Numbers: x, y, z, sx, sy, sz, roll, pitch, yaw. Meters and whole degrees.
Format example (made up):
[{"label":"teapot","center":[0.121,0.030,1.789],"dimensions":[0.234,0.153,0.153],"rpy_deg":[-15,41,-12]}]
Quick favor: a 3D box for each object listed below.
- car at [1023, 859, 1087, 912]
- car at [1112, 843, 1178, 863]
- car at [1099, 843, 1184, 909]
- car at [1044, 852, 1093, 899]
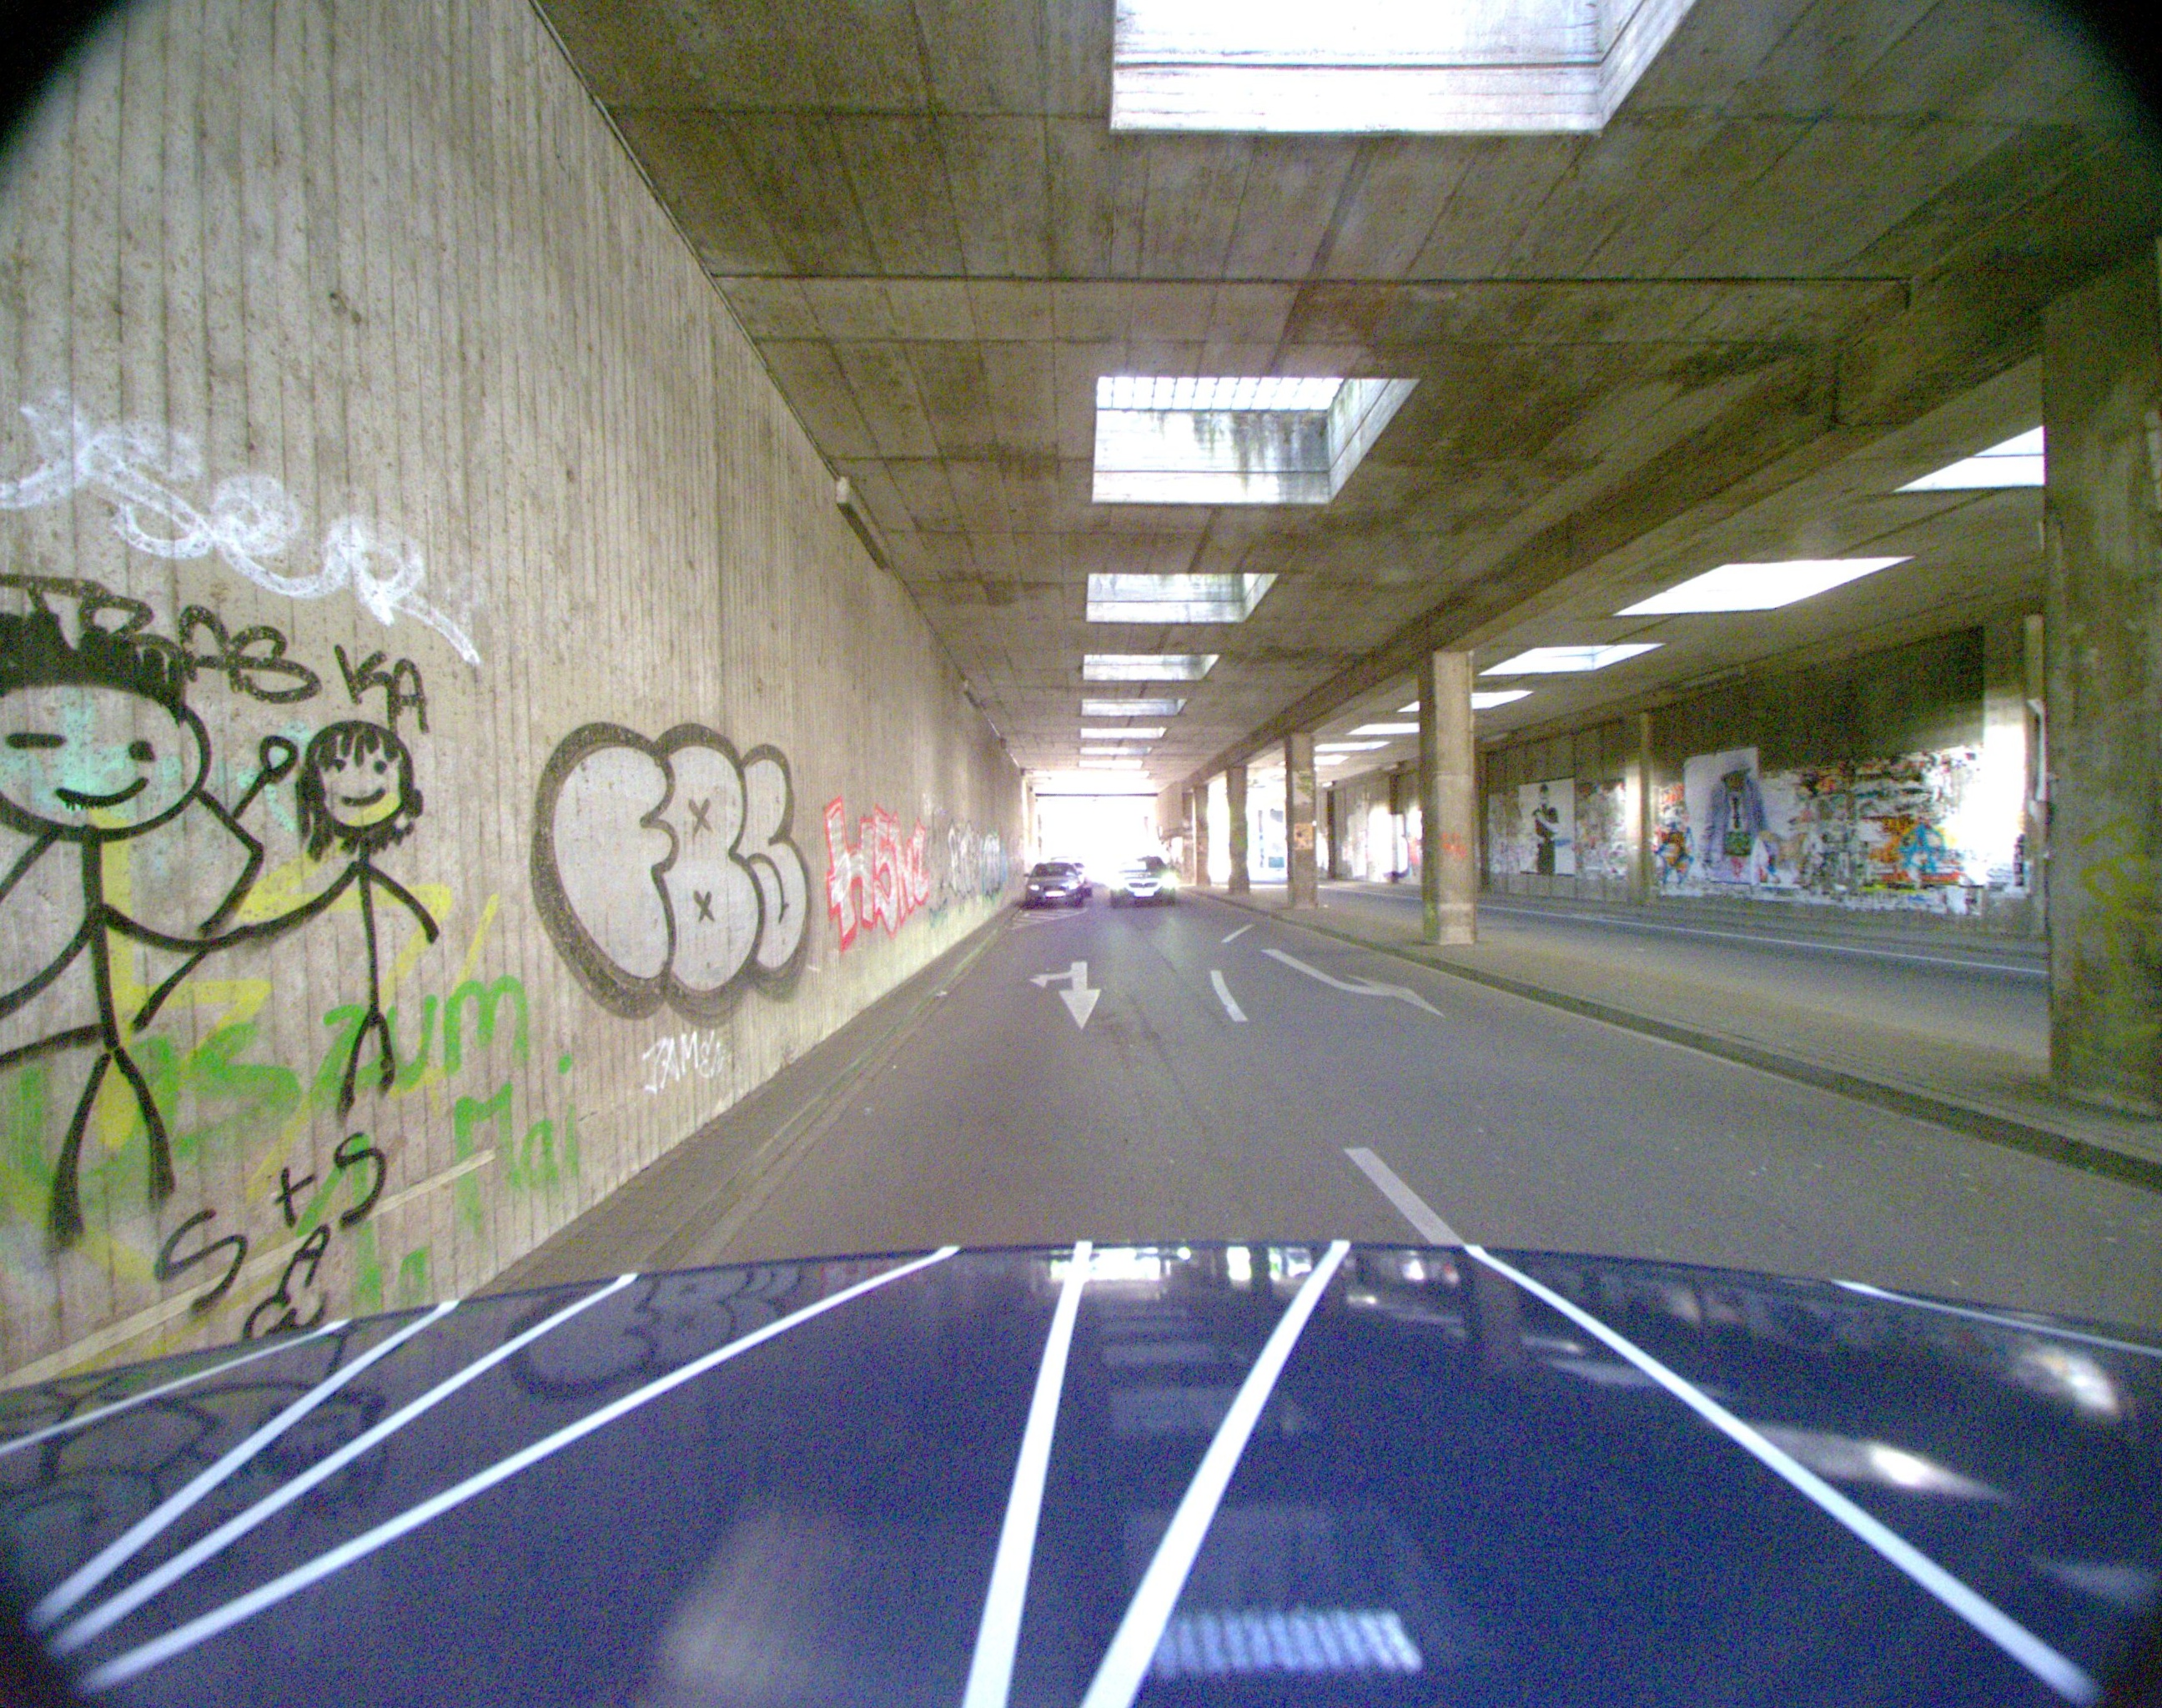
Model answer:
[{"label":"car","center":[-0.742,0.919,23.949],"dimensions":[1.767,1.407,3.999],"rpy_deg":[-2,1,1]},{"label":"car","center":[6.627,-0.113,79.114],"dimensions":[6.537,1.740,1.999],"rpy_deg":[-2,1,-2]},{"label":"car","center":[1.727,0.577,23.405],"dimensions":[1.999,1.740,4.858],"rpy_deg":[-2,1,-2]},{"label":"car","center":[-0.517,0.773,29.870],"dimensions":[1.767,1.634,3.999],"rpy_deg":[-2,1,-2]}]
